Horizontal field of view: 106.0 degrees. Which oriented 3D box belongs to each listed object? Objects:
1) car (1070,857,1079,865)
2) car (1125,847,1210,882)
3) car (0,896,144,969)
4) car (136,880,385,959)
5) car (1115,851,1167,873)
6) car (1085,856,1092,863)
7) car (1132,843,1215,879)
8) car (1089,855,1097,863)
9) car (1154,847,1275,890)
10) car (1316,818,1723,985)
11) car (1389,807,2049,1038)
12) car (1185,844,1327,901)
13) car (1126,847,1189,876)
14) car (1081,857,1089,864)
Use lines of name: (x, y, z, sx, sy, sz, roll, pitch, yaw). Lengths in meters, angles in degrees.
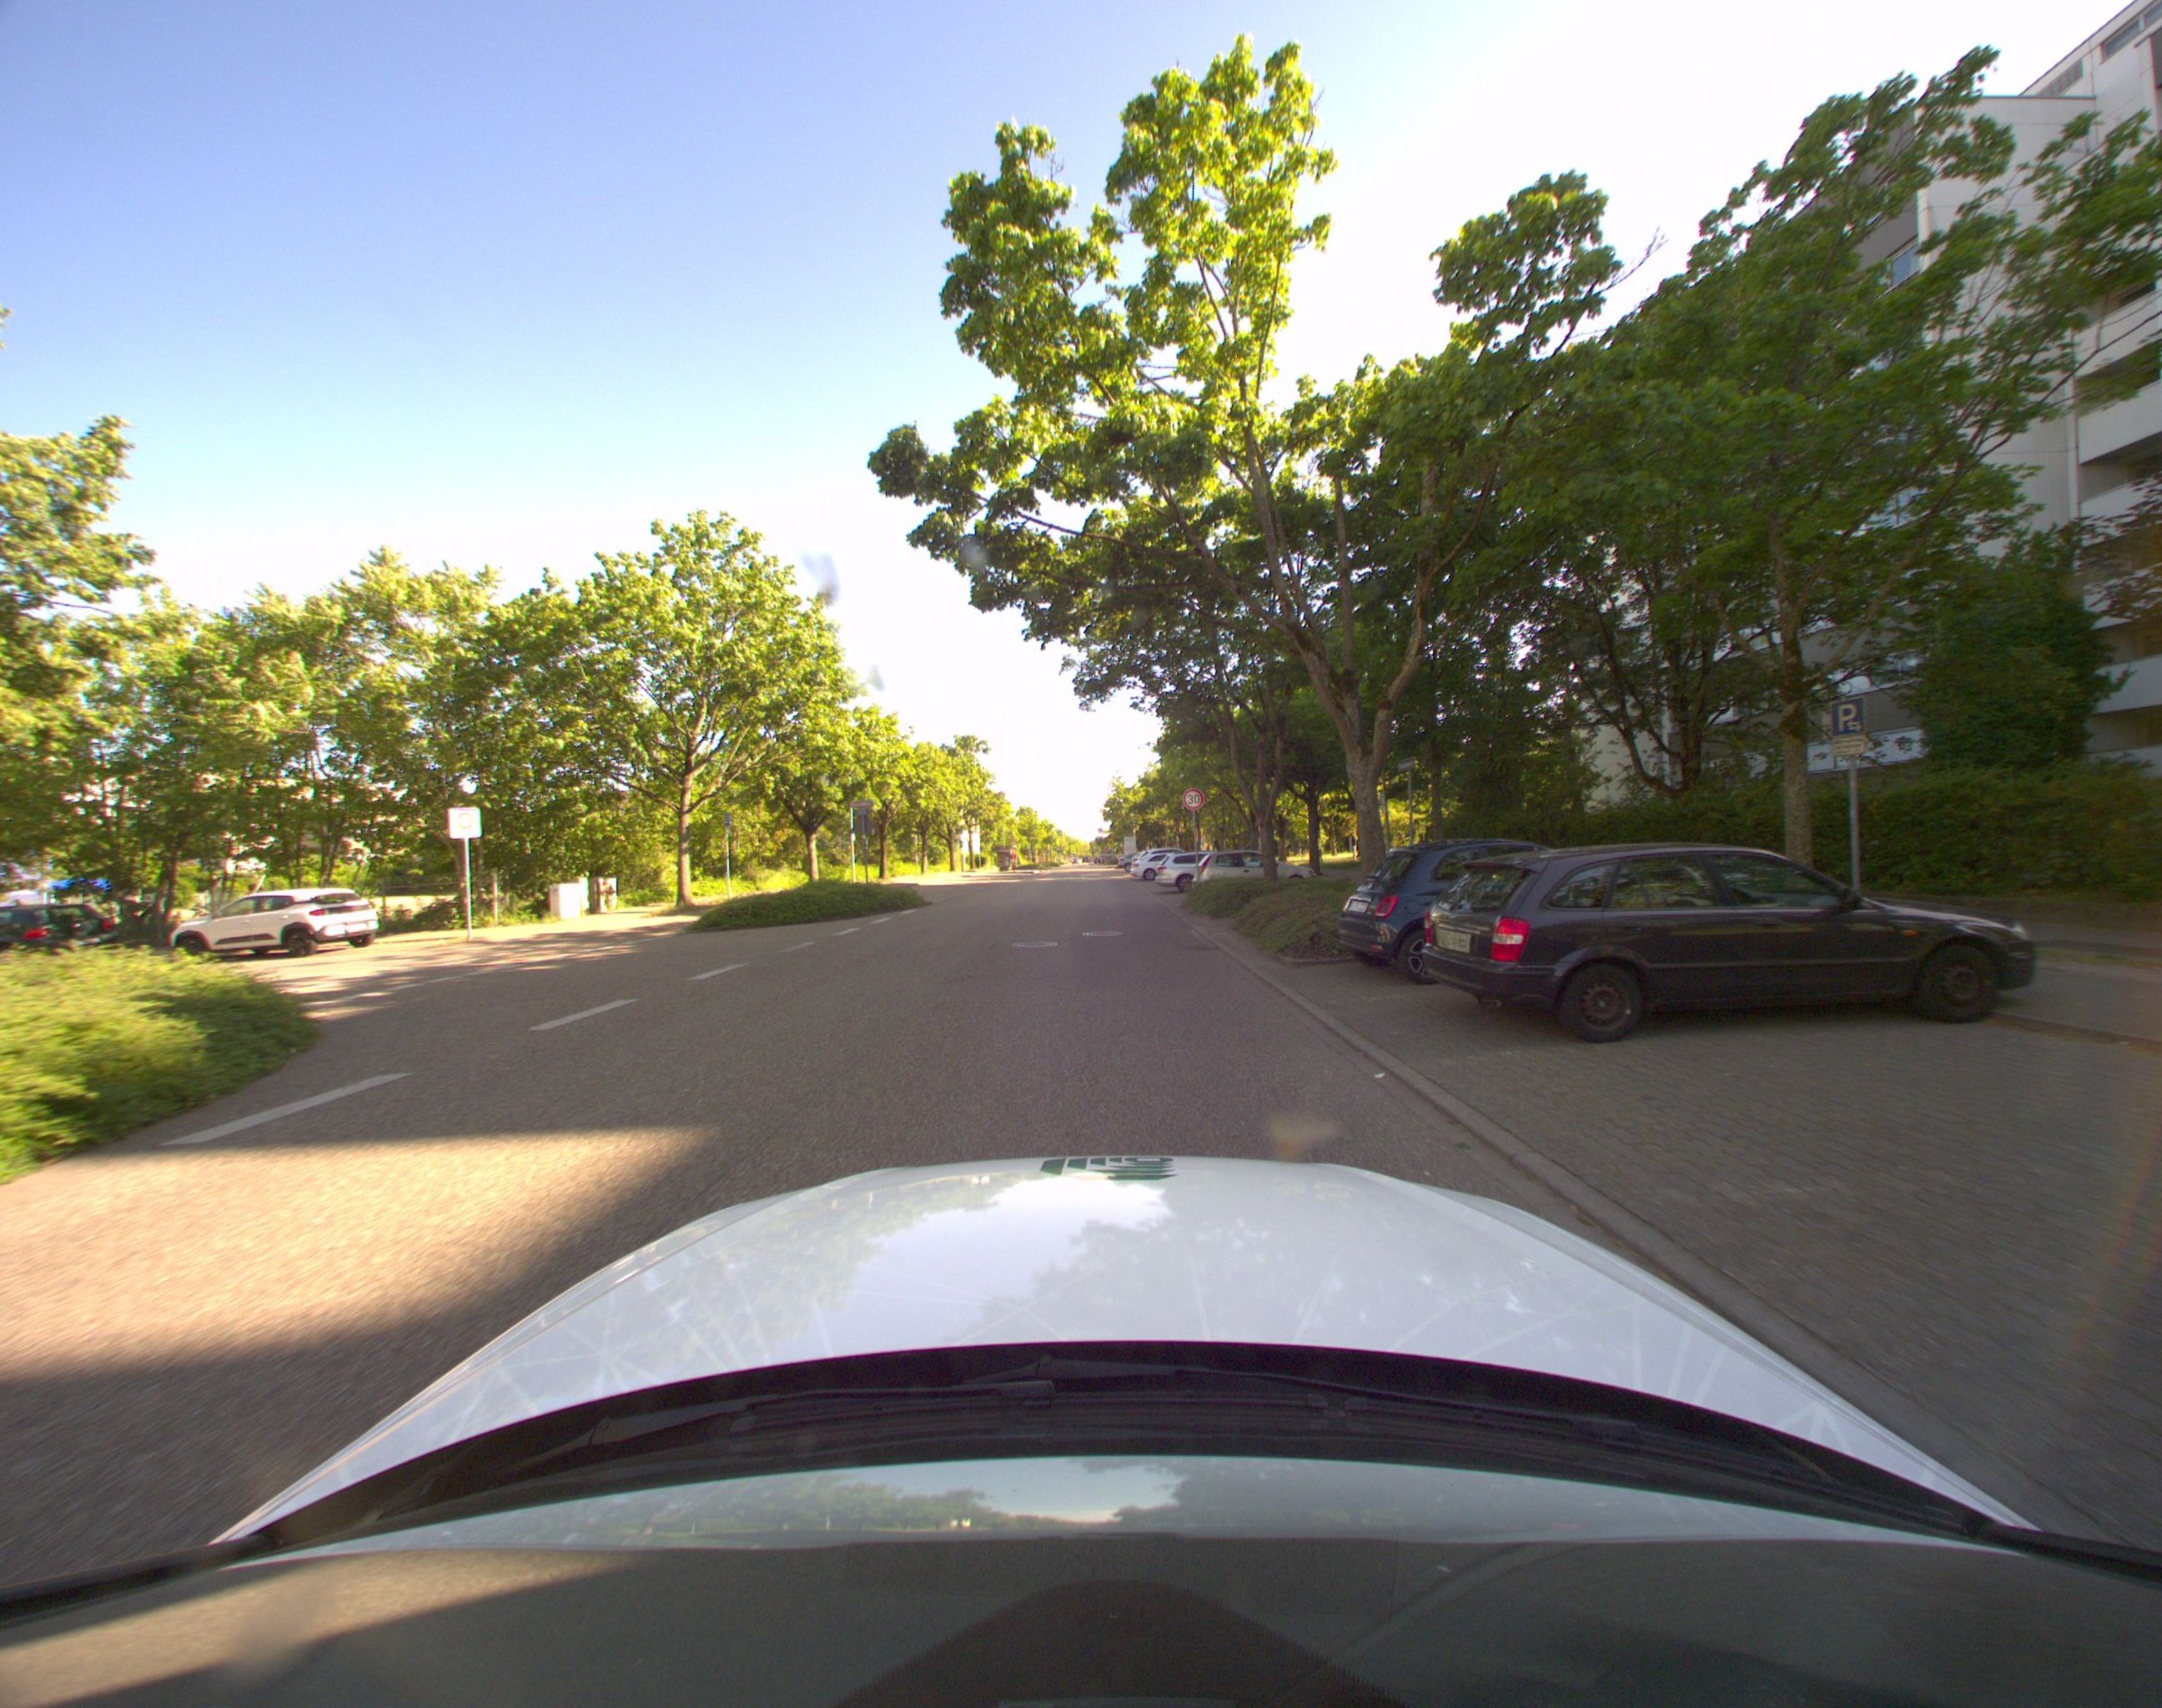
car: (-1.502, 1.539, 188.895, 1.822, 1.775, 3.740, -1, 0, 1)
car: (4.611, 0.553, 43.885, 4.331, 1.489, 1.737, -4, 0, -2)
car: (-24.934, 1.861, 18.973, 4.041, 1.472, 1.831, -3, 0, 0)
car: (-18.751, 1.471, 18.733, 4.062, 1.451, 1.625, -4, 0, 2)
car: (4.967, 0.654, 68.244, 4.151, 1.428, 2.000, -5, 0, 0)
car: (2.281, 1.558, 247.583, 1.986, 2.013, 4.001, -1, 0, 1)
car: (5.238, 0.377, 46.578, 4.423, 1.647, 1.815, -5, 0, -2)
car: (3.138, 1.365, 207.542, 1.986, 2.013, 4.001, -1, 0, 1)
car: (4.834, 0.511, 29.949, 4.254, 1.428, 1.830, -2, 0, 5)
car: (4.938, 0.497, 9.520, 3.800, 1.499, 1.700, -4, 0, -3)
car: (4.909, 0.486, 6.738, 3.974, 1.387, 1.822, -4, 0, 0)
car: (5.333, 0.549, 25.141, 3.973, 1.451, 1.717, -4, 0, 0)
car: (4.803, 0.433, 51.323, 3.678, 1.522, 1.650, -4, 0, -1)
car: (1.179, 1.745, 228.597, 1.986, 2.013, 4.001, -1, 0, 1)
